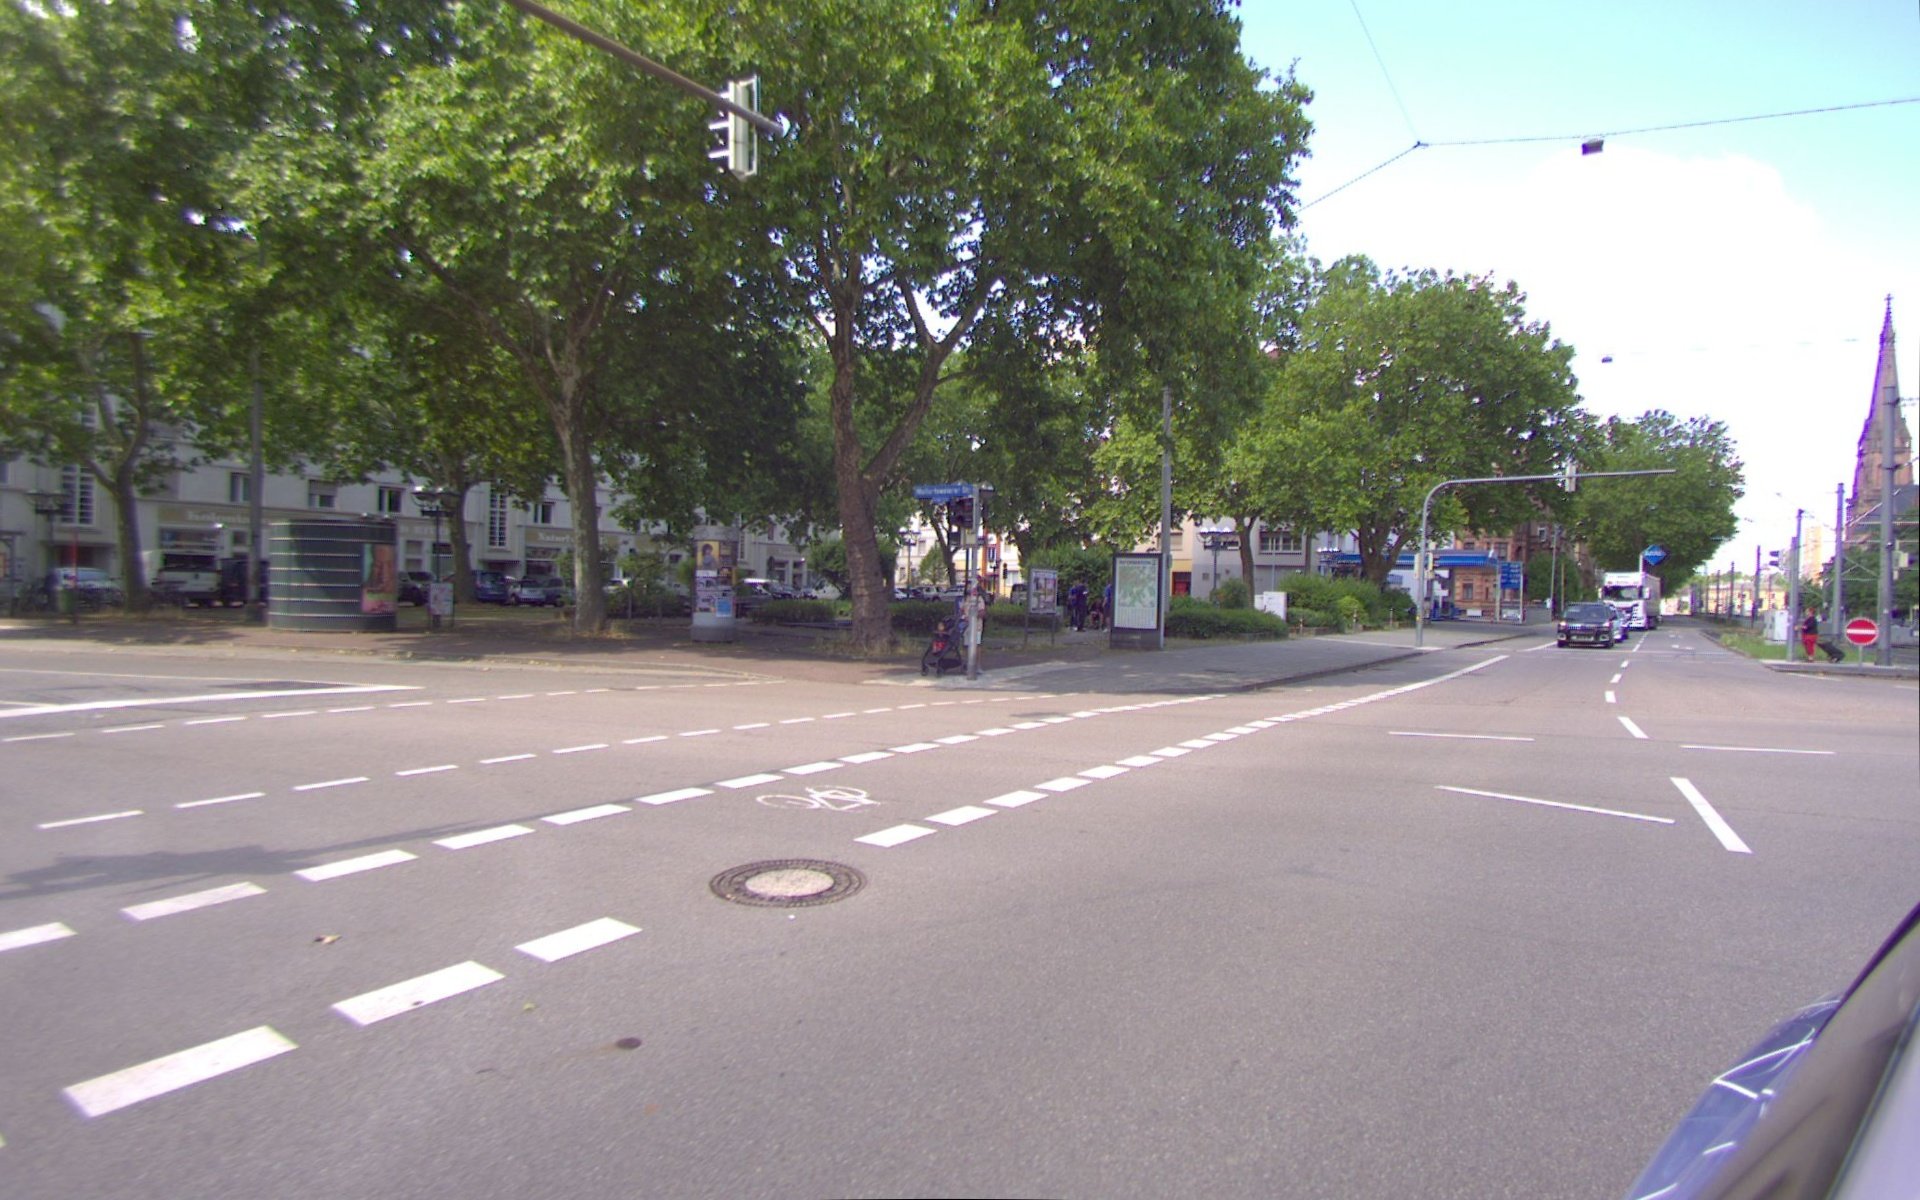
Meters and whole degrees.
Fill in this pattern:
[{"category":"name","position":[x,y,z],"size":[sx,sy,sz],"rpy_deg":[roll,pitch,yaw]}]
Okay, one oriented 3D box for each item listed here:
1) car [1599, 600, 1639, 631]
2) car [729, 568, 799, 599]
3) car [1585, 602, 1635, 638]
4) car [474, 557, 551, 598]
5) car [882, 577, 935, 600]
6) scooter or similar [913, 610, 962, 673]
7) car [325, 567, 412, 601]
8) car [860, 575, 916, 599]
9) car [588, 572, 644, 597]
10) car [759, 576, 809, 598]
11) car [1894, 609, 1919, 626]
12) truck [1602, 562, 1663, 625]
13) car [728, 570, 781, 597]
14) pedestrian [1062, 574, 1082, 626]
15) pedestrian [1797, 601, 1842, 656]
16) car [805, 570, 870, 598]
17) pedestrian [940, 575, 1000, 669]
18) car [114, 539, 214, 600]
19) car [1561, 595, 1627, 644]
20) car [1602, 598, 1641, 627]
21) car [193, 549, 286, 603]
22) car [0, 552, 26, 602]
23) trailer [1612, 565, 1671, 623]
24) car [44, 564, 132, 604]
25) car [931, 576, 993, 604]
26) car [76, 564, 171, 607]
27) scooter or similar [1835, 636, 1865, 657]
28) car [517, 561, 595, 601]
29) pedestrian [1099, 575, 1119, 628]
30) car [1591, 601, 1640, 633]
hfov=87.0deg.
[{"category":"car","position":[37.114,0.843,56.944],"size":[1.676,1.582,3.704],"rpy_deg":[2,1,36]},{"category":"car","position":[-12.888,-1.120,66.464],"size":[4.467,1.929,2.075],"rpy_deg":[2,1,38]},{"category":"car","position":[29.821,0.887,46.381],"size":[1.724,1.484,4.271],"rpy_deg":[2,1,36]},{"category":"car","position":[-23.138,-1.154,52.280],"size":[3.978,2.039,1.973],"rpy_deg":[2,1,37]},{"category":"car","position":[-3.976,-0.911,78.141],"size":[3.979,1.682,1.730],"rpy_deg":[2,1,38]},{"category":"scooter or similar","position":[-0.395,0.726,17.960],"size":[0.695,1.069,0.490],"rpy_deg":[1,1,-38]},{"category":"car","position":[-26.687,-0.720,45.613],"size":[3.977,1.440,1.974],"rpy_deg":[2,1,37]},{"category":"car","position":[-5.438,-0.961,75.965],"size":[3.979,1.701,1.829],"rpy_deg":[2,1,38]},{"category":"car","position":[-23.470,-1.054,68.988],"size":[3.979,1.657,1.721],"rpy_deg":[2,1,38]},{"category":"car","position":[-14.226,-1.065,81.779],"size":[3.979,1.718,1.713],"rpy_deg":[2,1,38]},{"category":"car","position":[92.300,1.683,98.249],"size":[1.773,1.554,4.331],"rpy_deg":[-1,0,35]},{"category":"truck","position":[47.464,-0.460,71.337],"size":[2.904,4.201,6.497],"rpy_deg":[1,1,39]},{"category":"car","position":[-16.180,-1.311,79.765],"size":[3.979,1.988,1.973],"rpy_deg":[2,1,38]},{"category":"pedestrian","position":[3.941,-0.001,35.618],"size":[0.597,1.772,0.696],"rpy_deg":[2,1,12]},{"category":"pedestrian","position":[24.189,0.791,28.491],"size":[0.767,1.510,0.653],"rpy_deg":[2,0,24]},{"category":"car","position":[-8.736,-1.144,71.899],"size":[4.467,1.929,2.075],"rpy_deg":[2,1,38]},{"category":"pedestrian","position":[0.183,0.385,18.467],"size":[0.906,1.666,0.570],"rpy_deg":[1,1,-38]},{"category":"car","position":[-30.750,-1.164,39.055],"size":[4.232,2.210,1.974],"rpy_deg":[2,1,37]},{"category":"car","position":[24.896,0.729,39.677],"size":[1.844,1.748,4.360],"rpy_deg":[2,1,36]},{"category":"car","position":[42.836,0.798,65.527],"size":[1.844,1.727,4.080],"rpy_deg":[2,1,36]},{"category":"car","position":[-29.681,-0.985,41.649],"size":[3.977,2.102,1.974],"rpy_deg":[2,1,37]},{"category":"car","position":[-34.750,-0.847,35.554],"size":[4.508,1.711,1.888],"rpy_deg":[2,1,34]},{"category":"trailer","position":[52.061,-0.483,77.173],"size":[2.902,4.128,11.490],"rpy_deg":[1,1,38]},{"category":"car","position":[-32.105,-0.586,37.243],"size":[3.207,1.406,1.455],"rpy_deg":[2,1,29]},{"category":"car","position":[0.140,-0.696,70.108],"size":[3.979,1.822,1.844],"rpy_deg":[2,1,38]},{"category":"car","position":[-28.824,-0.507,34.883],"size":[3.038,1.406,1.456],"rpy_deg":[1,1,27]},{"category":"scooter or similar","position":[24.844,1.299,28.250],"size":[0.516,0.542,0.308],"rpy_deg":[4,1,24]},{"category":"car","position":[-21.568,-1.027,54.014],"size":[3.973,2.039,1.976],"rpy_deg":[2,1,34]},{"category":"pedestrian","position":[5.094,0.039,34.582],"size":[0.596,1.772,0.696],"rpy_deg":[2,1,12]},{"category":"car","position":[33.725,0.865,52.032],"size":[1.844,1.464,3.921],"rpy_deg":[2,2,37]}]
